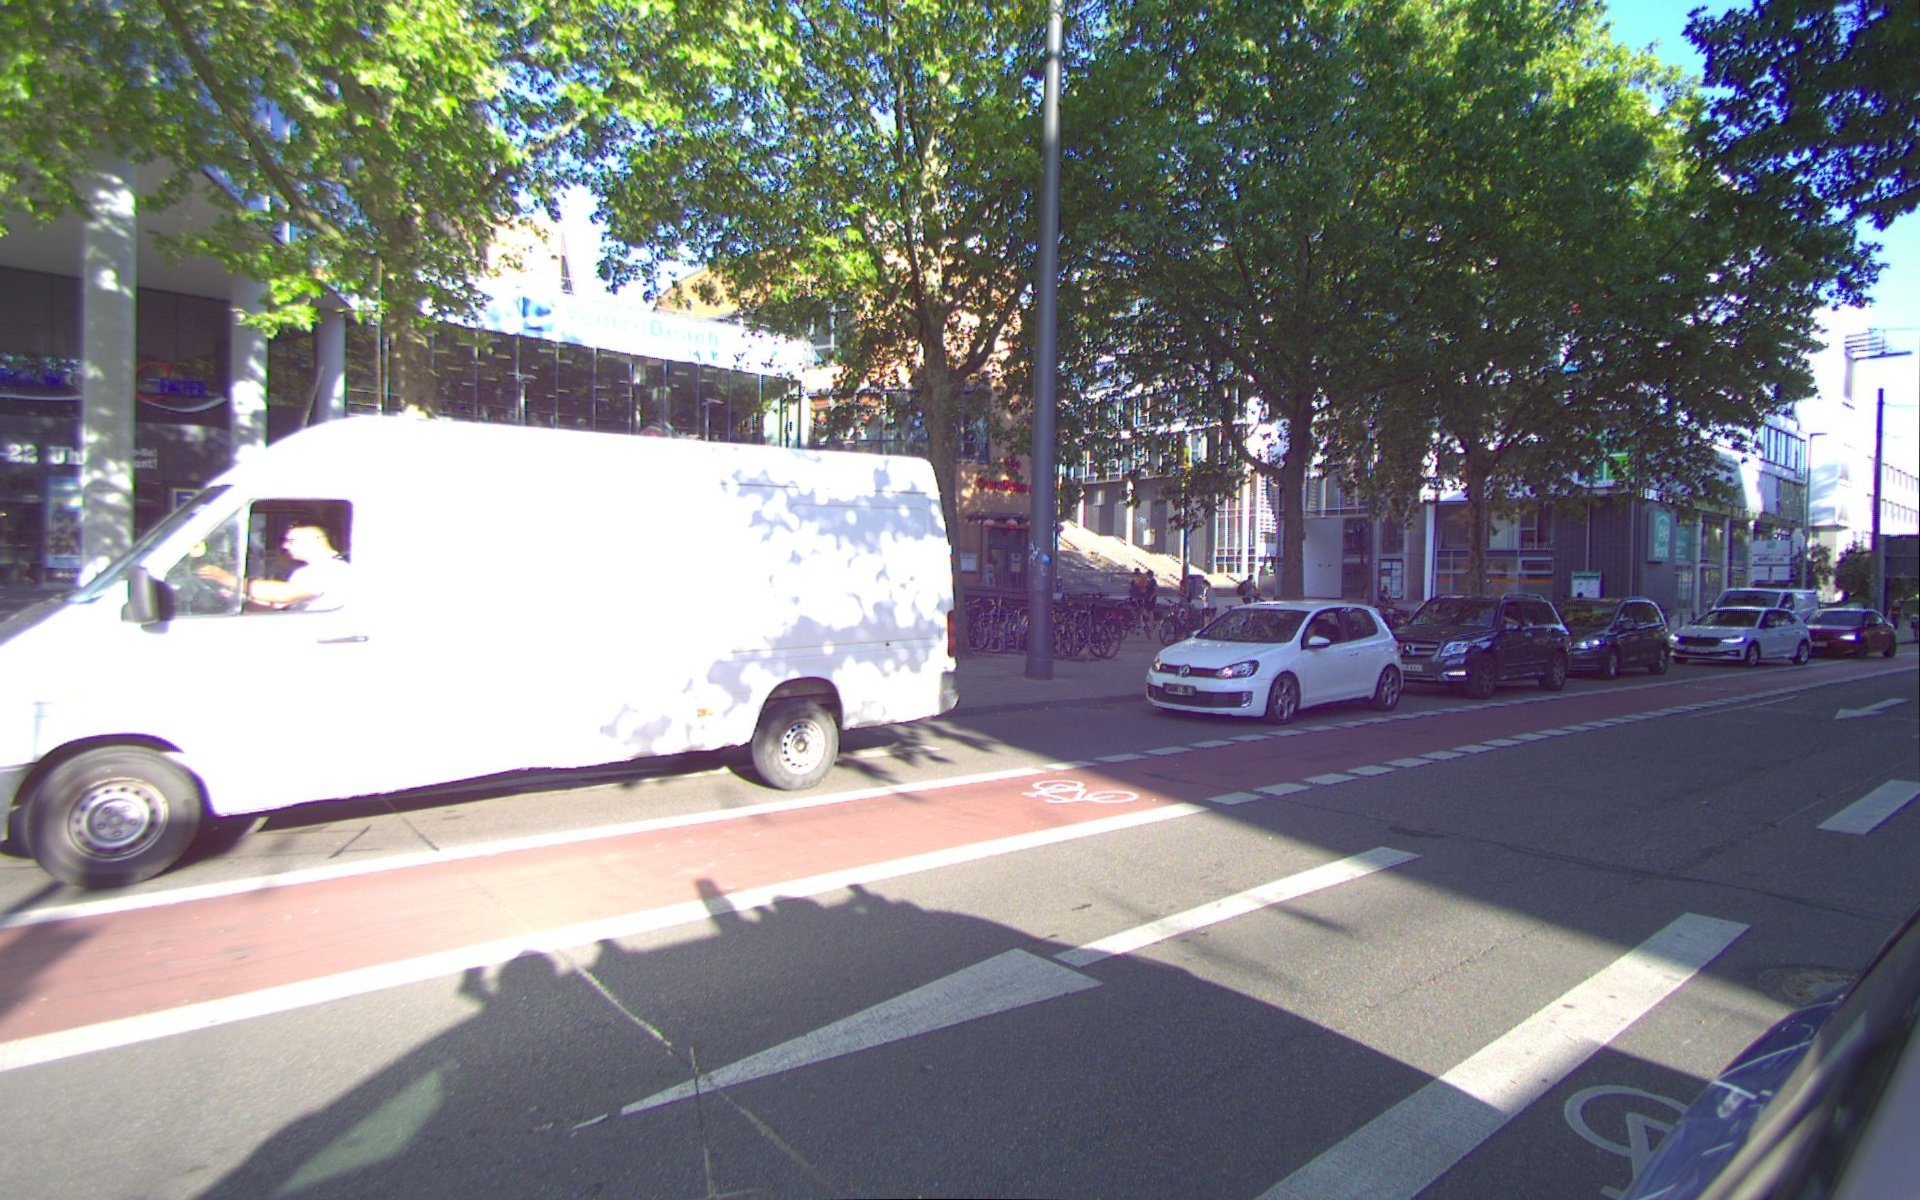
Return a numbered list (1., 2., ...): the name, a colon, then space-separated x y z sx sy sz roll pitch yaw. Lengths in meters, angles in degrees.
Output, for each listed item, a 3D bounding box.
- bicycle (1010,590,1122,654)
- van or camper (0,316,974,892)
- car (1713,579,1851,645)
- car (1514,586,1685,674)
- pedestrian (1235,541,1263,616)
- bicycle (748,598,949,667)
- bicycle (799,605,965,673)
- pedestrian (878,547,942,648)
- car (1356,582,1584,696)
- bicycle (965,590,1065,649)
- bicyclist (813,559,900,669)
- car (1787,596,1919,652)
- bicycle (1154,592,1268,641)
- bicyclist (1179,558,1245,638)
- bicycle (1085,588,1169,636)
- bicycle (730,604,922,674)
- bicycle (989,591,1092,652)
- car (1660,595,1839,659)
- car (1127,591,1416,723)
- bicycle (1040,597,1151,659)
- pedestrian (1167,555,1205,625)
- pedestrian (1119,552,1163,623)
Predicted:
1. bicycle: 2.101 0.395 19.880 2.355 1.177 0.750 -1 0 -40
2. van or camper: -2.963 -0.010 7.218 6.384 2.647 2.004 0 1 -41
3. car: 26.667 0.355 32.764 5.805 1.989 1.935 0 0 -35
4. car: 13.432 0.558 21.161 4.310 1.656 1.710 0 0 -38
5. pedestrian: 10.602 -0.778 37.124 0.967 2.681 0.897 0 0 18
6. bicycle: -1.791 0.498 16.876 3.352 1.014 1.050 -1 0 -41
7. bicycle: -1.190 0.577 16.047 2.591 0.960 0.924 -1 0 -41
8. pedestrian: -1.033 -0.069 21.124 0.922 2.039 1.085 2 1 24
9. car: 8.458 0.551 16.642 4.172 1.656 1.769 0 0 -38
10. bicycle: 1.161 0.380 21.064 2.252 1.177 0.657 -1 0 -41
11. bicyclist: -1.606 0.198 15.698 1.005 1.641 0.902 0 0 -41
12. car: 26.145 0.664 29.533 4.112 1.508 1.838 0 -1 -31
13. bicycle: 6.565 0.407 26.789 1.124 1.097 3.342 0 2 -23
14. bicyclist: 6.627 -0.080 26.652 1.132 2.039 1.301 0 1 -24
15. bicycle: 4.500 0.294 27.117 2.653 1.215 0.698 -1 1 -41
16. bicycle: -2.327 0.645 18.074 3.352 1.013 1.051 -1 6 -41
17. bicycle: 1.659 0.403 20.545 2.264 1.177 0.671 -1 0 -39
18. car: 19.962 0.641 25.592 4.108 1.508 1.840 0 0 -24
19. car: 4.083 0.623 12.999 3.914 1.446 1.639 0 0 -38
20. bicycle: 2.580 0.492 19.060 2.295 1.073 0.682 -1 1 -39
21. pedestrian: 7.407 -0.317 33.216 0.884 2.261 0.845 0 0 -19
22. pedestrian: 5.874 -0.397 32.887 1.195 2.276 1.052 0 0 -3
